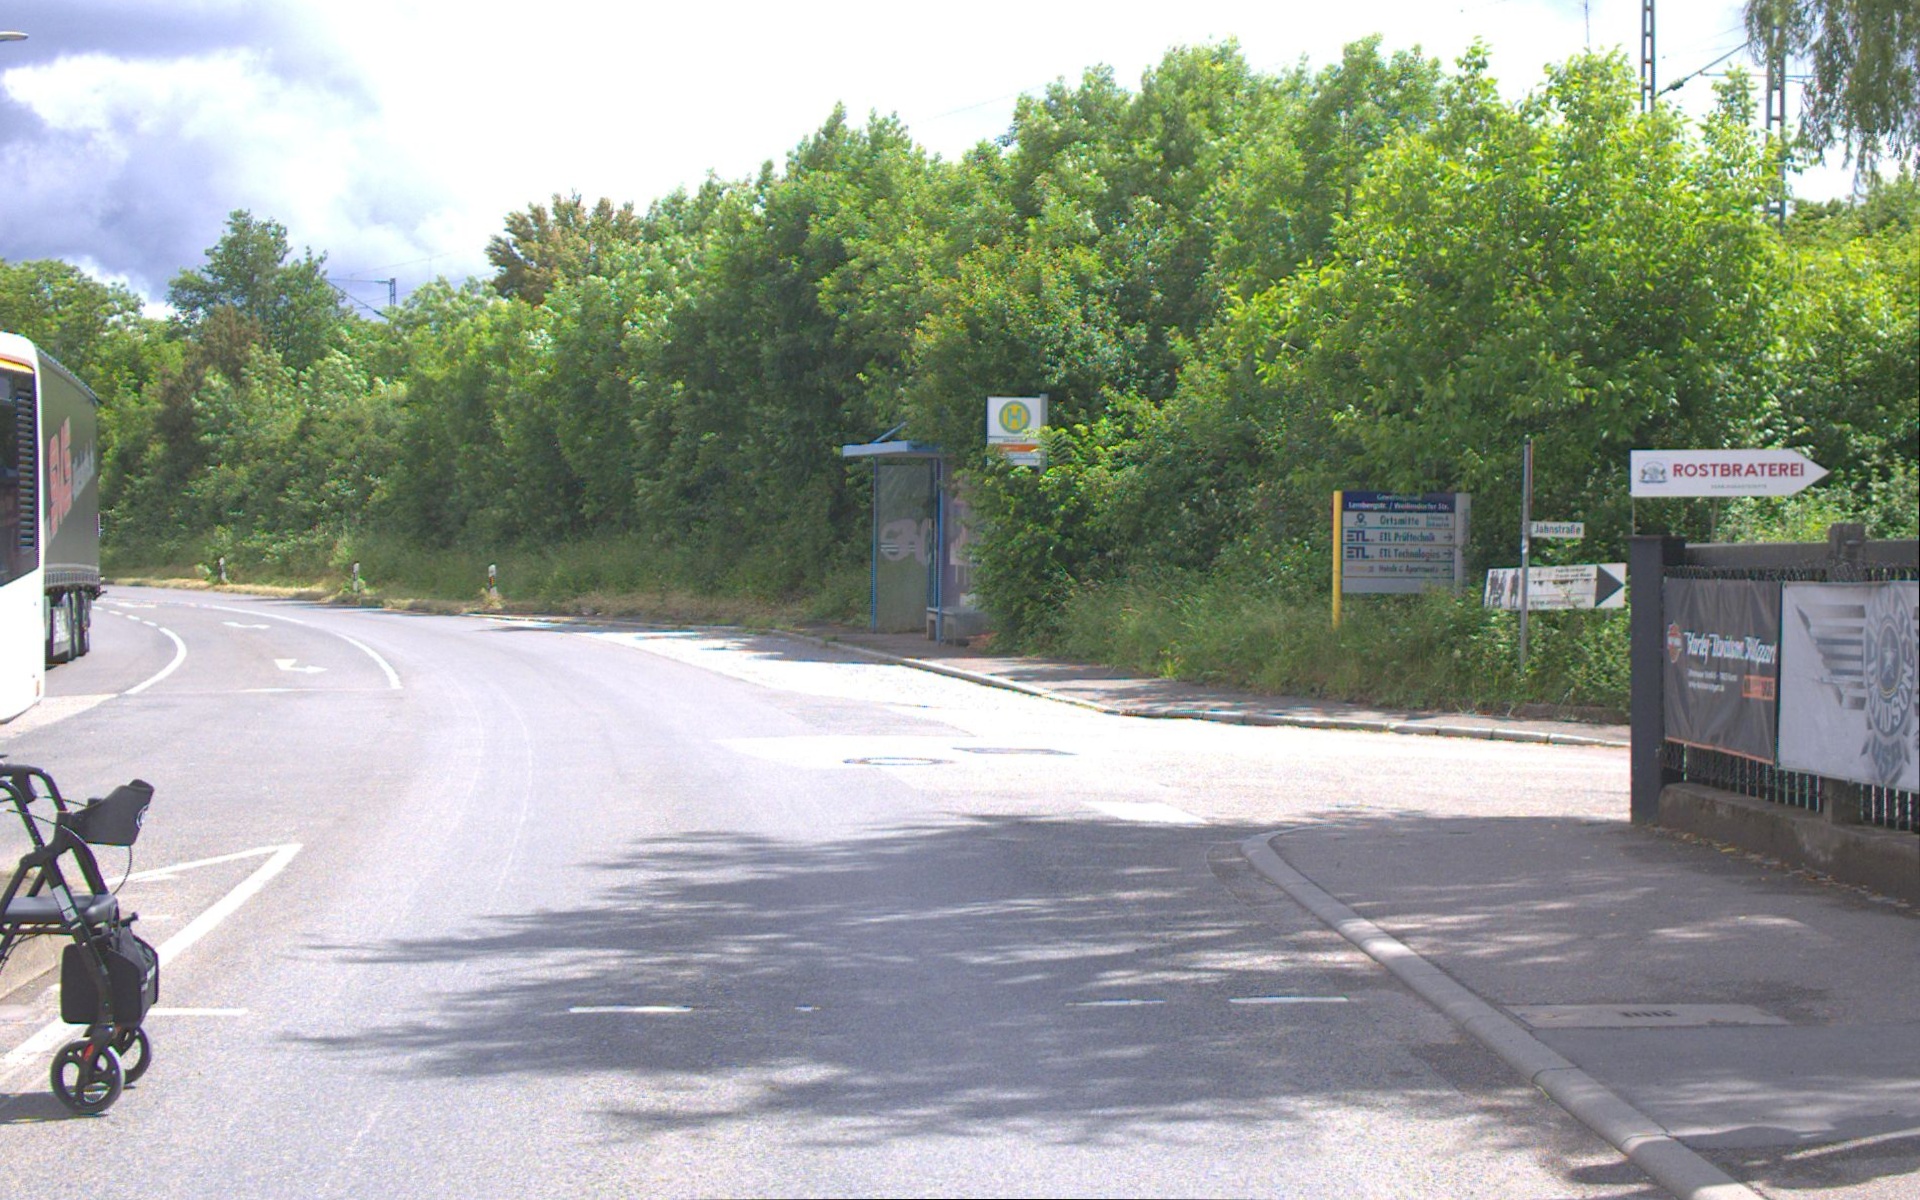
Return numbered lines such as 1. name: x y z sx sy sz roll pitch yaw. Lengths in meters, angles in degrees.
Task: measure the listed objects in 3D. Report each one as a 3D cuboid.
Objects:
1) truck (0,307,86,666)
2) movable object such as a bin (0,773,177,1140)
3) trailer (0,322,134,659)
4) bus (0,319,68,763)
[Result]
1. truck: -12.294 -1.331 41.687 2.798 4.039 6.503 1 1 -10
2. movable object such as a bin: -2.463 0.904 8.892 0.746 0.868 0.671 1 0 -4
3. trailer: -13.612 -1.421 48.702 2.798 4.039 15.560 1 1 -10
4. bus: -7.844 -0.350 19.061 2.718 3.020 12.266 0 1 -1
